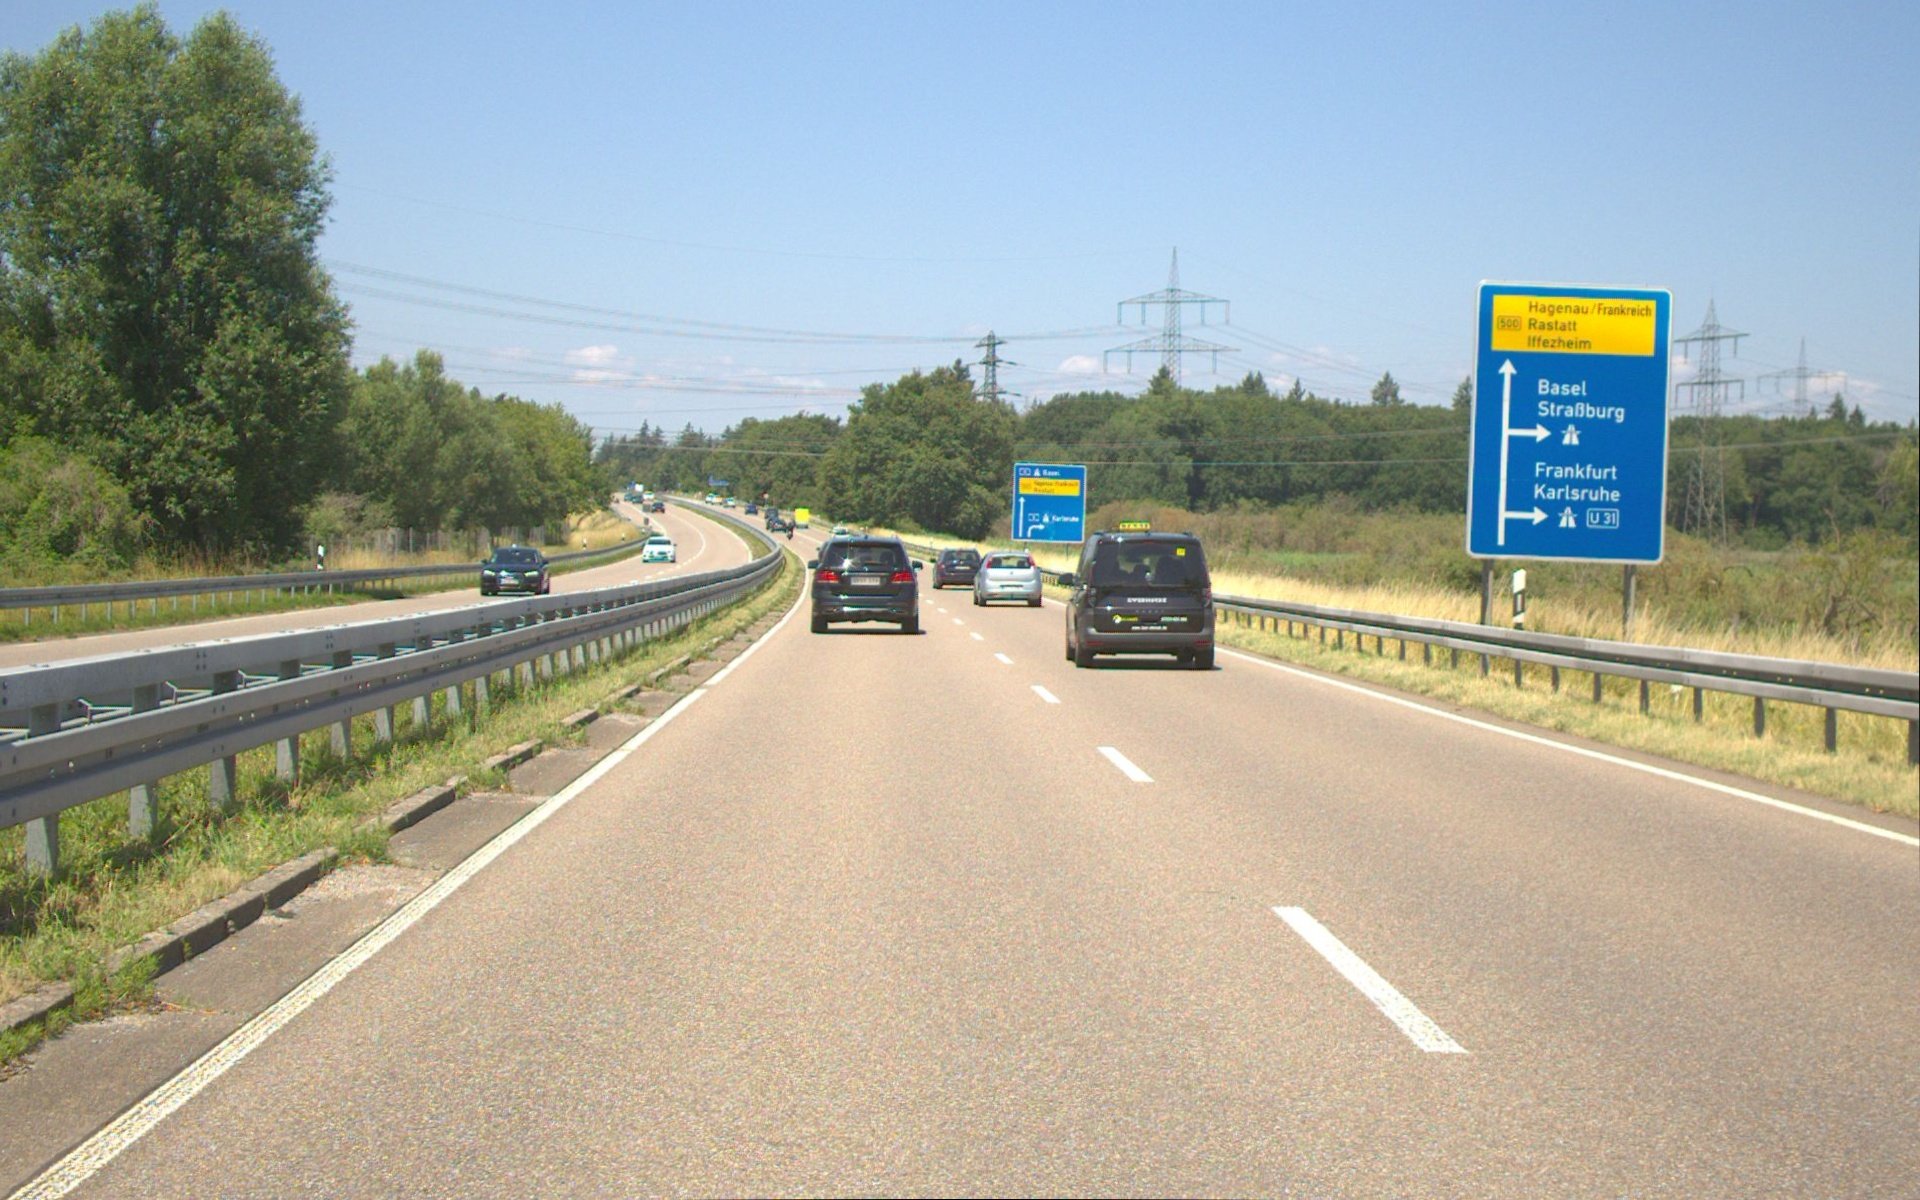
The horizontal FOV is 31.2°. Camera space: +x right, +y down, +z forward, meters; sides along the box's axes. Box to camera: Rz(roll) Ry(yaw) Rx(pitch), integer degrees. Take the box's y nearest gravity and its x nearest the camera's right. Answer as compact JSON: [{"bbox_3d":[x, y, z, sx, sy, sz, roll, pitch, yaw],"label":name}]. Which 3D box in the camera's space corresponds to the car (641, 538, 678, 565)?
[{"bbox_3d":[-17.195,-2.778,196.870,1.827,1.492,4.103,2,1,-2],"label":"car"}]

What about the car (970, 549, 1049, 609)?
[{"bbox_3d":[1.304,-0.581,92.160,1.779,1.474,4.316,3,1,-3],"label":"car"}]

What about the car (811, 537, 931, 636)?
[{"bbox_3d":[-1.650,-0.263,62.444,1.993,1.649,4.001,3,1,-3],"label":"car"}]

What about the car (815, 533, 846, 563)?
[{"bbox_3d":[-6.794,-2.733,180.259,1.514,1.470,3.066,4,1,-3],"label":"car"}]

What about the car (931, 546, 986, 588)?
[{"bbox_3d":[-0.066,-1.181,120.615,1.819,1.409,4.000,1,1,-1],"label":"car"}]

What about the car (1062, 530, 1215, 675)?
[{"bbox_3d":[2.358,0.006,46.404,1.780,1.810,4.213,2,1,0],"label":"car"}]

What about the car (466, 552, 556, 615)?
[{"bbox_3d":[-13.129,-0.503,100.867,1.993,1.631,4.874,4,1,-1],"label":"car"}]
